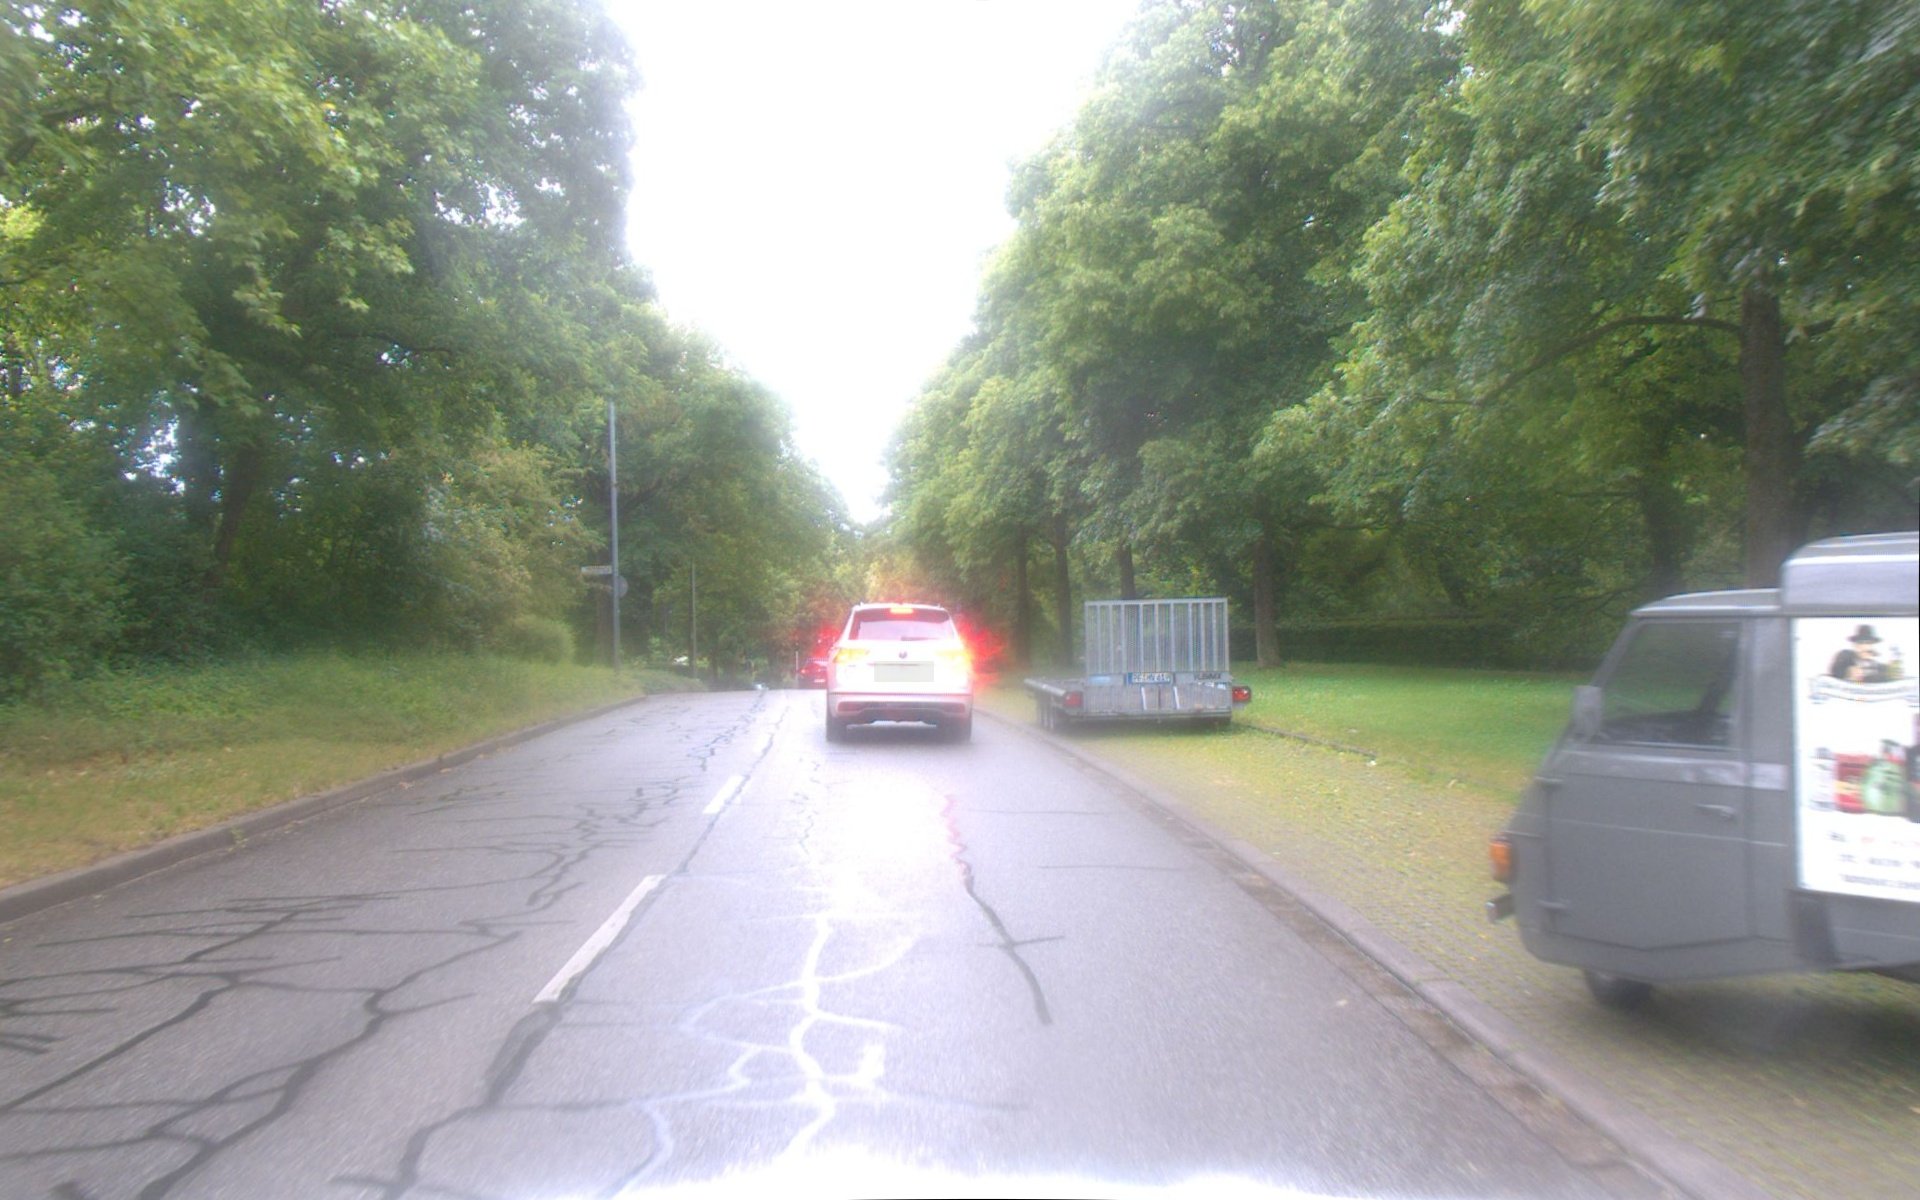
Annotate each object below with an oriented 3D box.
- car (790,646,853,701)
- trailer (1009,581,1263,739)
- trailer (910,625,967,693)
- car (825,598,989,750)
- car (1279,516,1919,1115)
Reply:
[{"bbox_3d":[-5.932,3.147,71.345,1.951,2.048,4.004,0,2,6],"label":"car"},{"bbox_3d":[2.219,0.809,22.909,2.401,1.844,5.885,-1,-2,-5],"label":"trailer"},{"bbox_3d":[-0.746,1.962,54.559,1.500,2.112,3.994,-2,-3,-6],"label":"trailer"},{"bbox_3d":[-0.741,0.890,21.437,1.867,1.715,4.197,-2,-1,-4],"label":"car"},{"bbox_3d":[3.154,0.614,5.453,1.598,1.710,3.945,-1,-2,-42],"label":"car"}]
